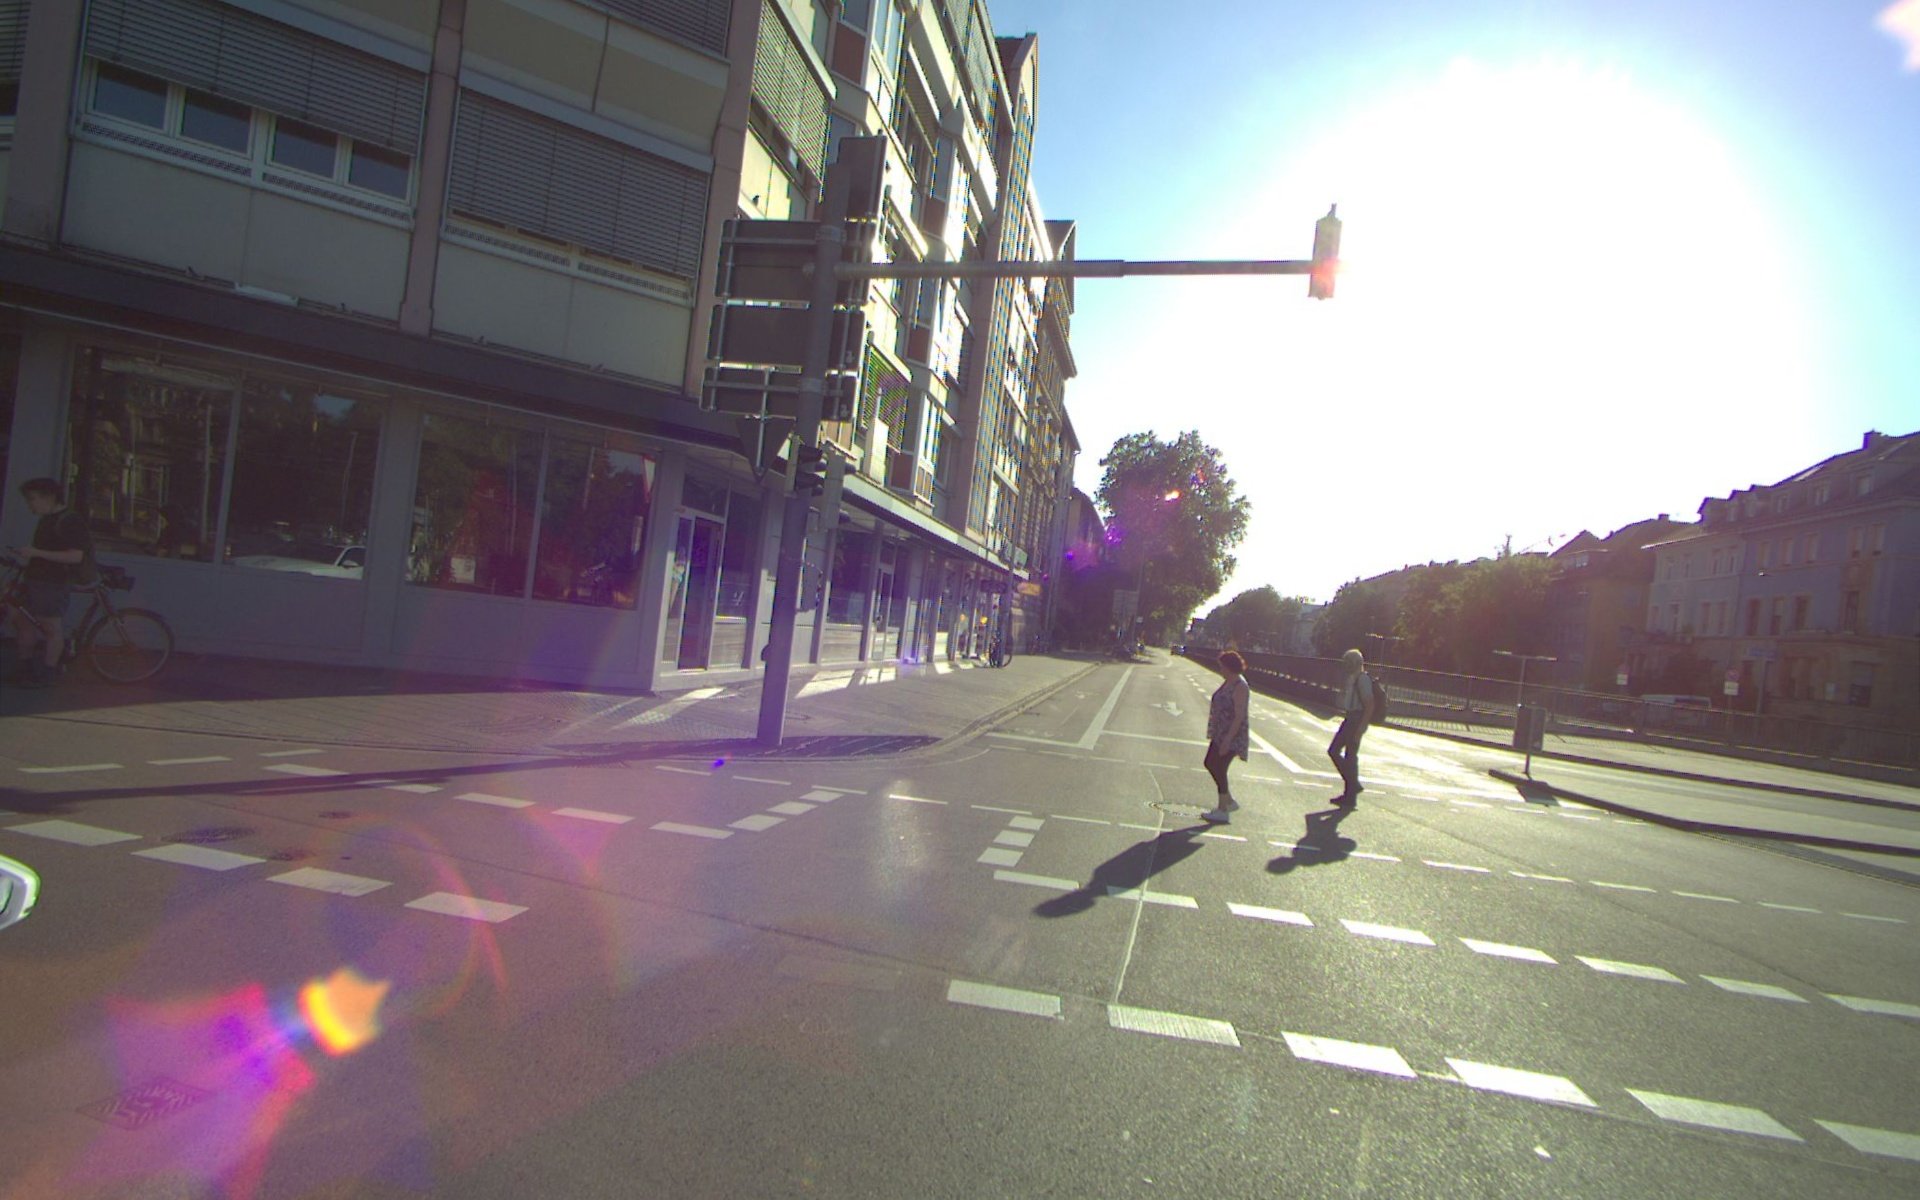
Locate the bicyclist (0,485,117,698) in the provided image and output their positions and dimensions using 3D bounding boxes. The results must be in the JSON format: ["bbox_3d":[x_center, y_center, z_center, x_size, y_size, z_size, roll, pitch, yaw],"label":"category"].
[{"bbox_3d":[-7.504,-0.080,8.165,0.629,1.618,0.658,9,3,14],"label":"bicyclist"}]

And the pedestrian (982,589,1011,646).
[{"bbox_3d":[1.642,0.800,45.629,0.912,2.426,0.961,9,0,0],"label":"pedestrian"}]

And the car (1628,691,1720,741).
[{"bbox_3d":[40.259,6.486,56.863,2.250,2.197,4.838,9,-1,12],"label":"car"}]

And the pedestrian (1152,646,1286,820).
[{"bbox_3d":[2.417,1.227,9.426,0.844,1.479,0.684,9,-5,-18],"label":"pedestrian"}]

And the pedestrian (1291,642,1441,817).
[{"bbox_3d":[4.642,1.451,11.589,1.176,1.751,0.857,9,0,6],"label":"pedestrian"}]

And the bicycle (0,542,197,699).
[{"bbox_3d":[-7.493,0.151,8.340,0.629,1.160,1.769,9,2,14],"label":"bicycle"}]

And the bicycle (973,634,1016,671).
[{"bbox_3d":[1.158,1.758,33.378,0.444,1.083,2.091,9,-1,27],"label":"bicycle"}]
